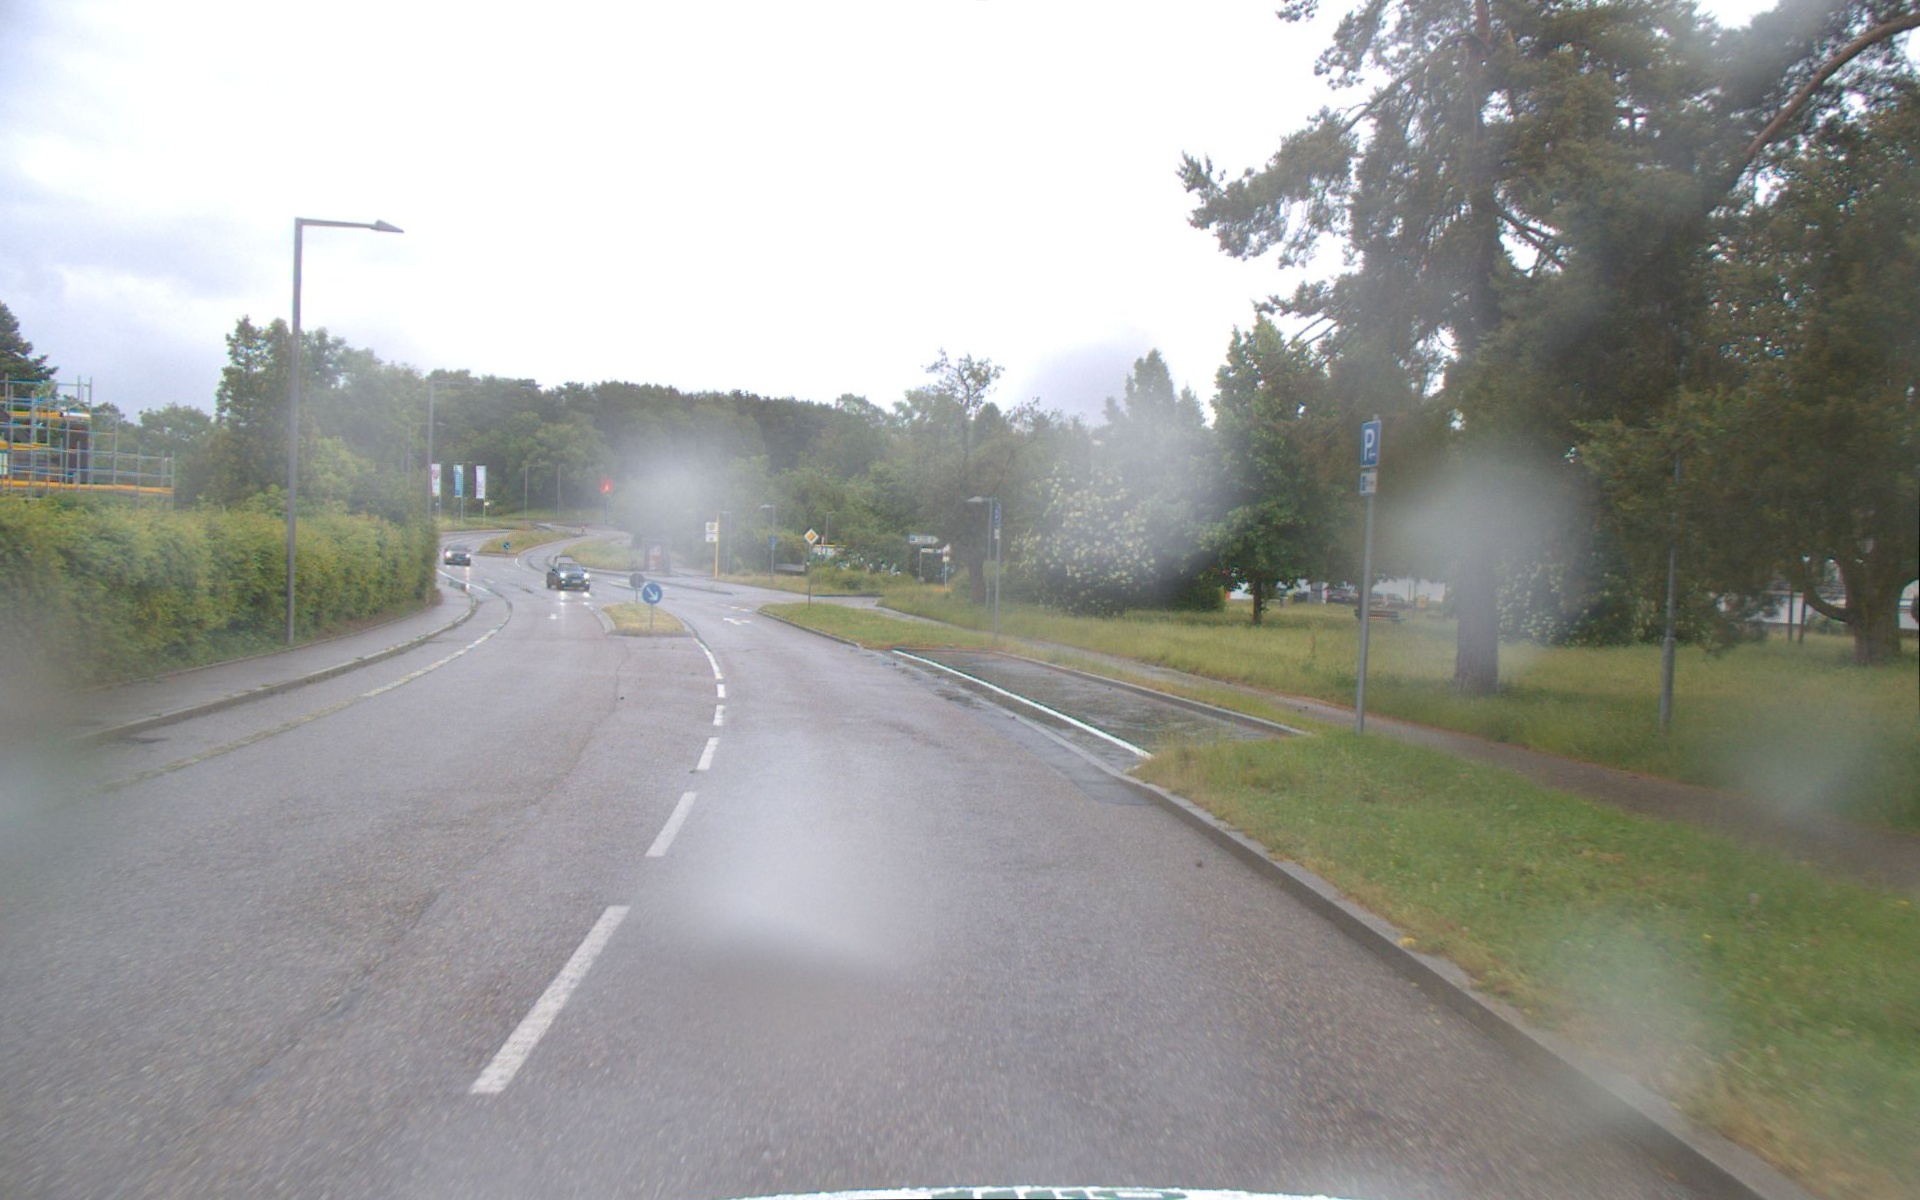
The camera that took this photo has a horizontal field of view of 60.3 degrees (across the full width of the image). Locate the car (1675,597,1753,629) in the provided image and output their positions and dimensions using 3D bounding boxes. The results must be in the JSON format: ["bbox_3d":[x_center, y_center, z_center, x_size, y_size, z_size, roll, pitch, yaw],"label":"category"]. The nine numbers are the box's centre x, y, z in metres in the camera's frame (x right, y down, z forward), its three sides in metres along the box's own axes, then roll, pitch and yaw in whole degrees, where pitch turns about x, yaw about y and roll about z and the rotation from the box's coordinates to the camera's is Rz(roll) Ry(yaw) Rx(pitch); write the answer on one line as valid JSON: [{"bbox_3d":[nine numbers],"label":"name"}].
[{"bbox_3d":[36.866,0.626,81.002,1.933,1.489,3.999,-2,0,-1],"label":"car"}]

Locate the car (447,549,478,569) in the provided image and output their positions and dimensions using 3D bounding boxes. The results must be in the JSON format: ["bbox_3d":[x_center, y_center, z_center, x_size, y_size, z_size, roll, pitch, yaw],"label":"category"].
[{"bbox_3d":[-36.799,-3.041,122.359,1.939,1.438,4.390,-1,2,-20],"label":"car"}]

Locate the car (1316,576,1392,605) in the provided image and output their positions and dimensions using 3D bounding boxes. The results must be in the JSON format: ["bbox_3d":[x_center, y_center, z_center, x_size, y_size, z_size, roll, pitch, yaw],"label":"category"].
[{"bbox_3d":[25.626,-0.614,107.716,4.478,1.780,1.901,-1,0,43],"label":"car"}]

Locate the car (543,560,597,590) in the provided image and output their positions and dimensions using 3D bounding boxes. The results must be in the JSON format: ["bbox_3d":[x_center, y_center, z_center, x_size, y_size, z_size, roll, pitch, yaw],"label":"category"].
[{"bbox_3d":[-20.736,-1.349,87.887,1.444,1.379,3.487,3,1,-38],"label":"car"}]
